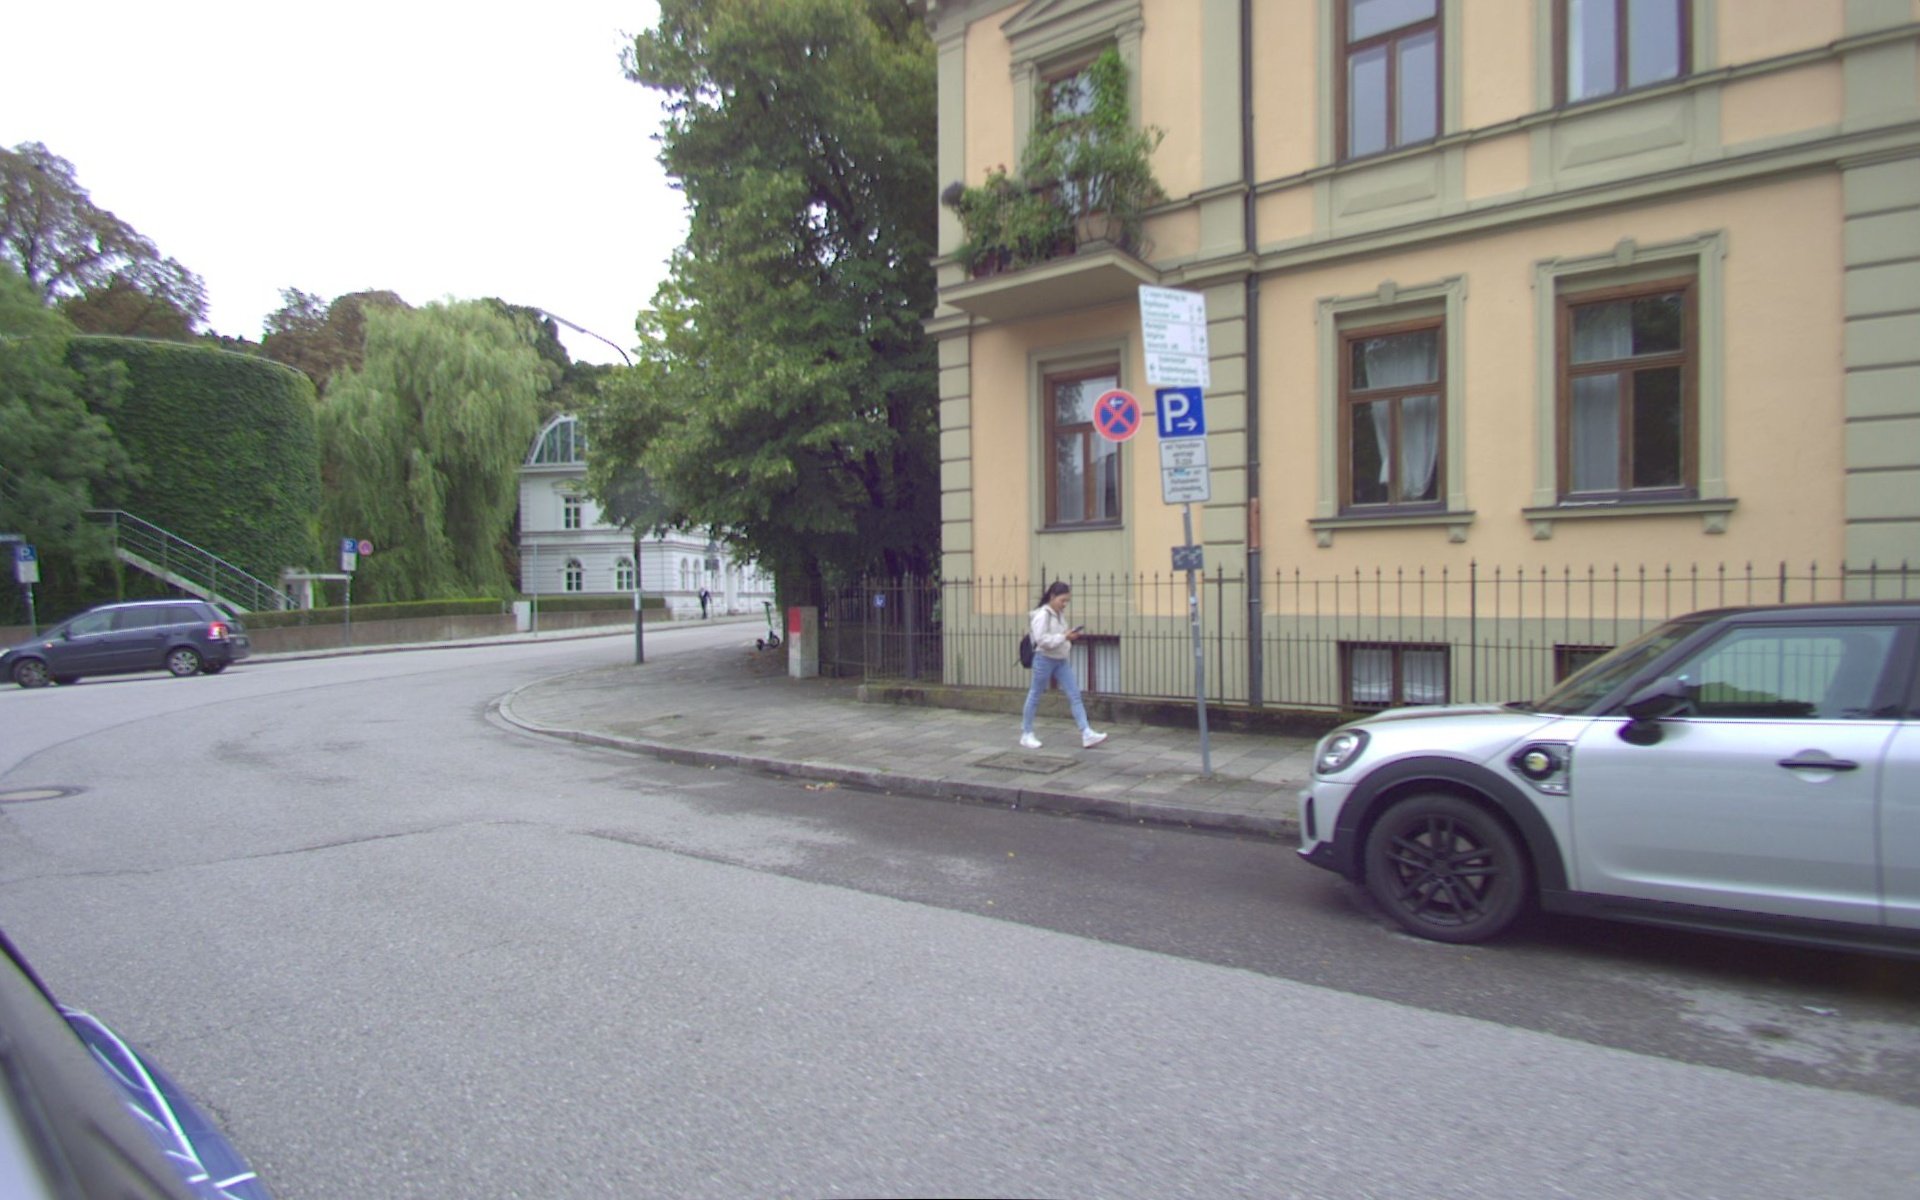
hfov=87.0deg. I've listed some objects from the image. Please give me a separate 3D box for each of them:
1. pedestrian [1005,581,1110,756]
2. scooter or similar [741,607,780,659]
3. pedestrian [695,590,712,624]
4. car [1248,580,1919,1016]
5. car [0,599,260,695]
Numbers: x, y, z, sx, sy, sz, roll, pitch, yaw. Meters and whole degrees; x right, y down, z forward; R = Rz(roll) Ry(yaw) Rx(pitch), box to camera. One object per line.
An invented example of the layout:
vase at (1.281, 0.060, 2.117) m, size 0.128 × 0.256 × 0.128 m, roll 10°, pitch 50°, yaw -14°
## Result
pedestrian at (0.953, 0.635, 9.860) m, size 0.739 × 1.615 × 0.647 m, roll -1°, pitch 0°, yaw 41°
scooter or similar at (-4.887, 0.794, 24.880) m, size 0.387 × 1.198 × 1.416 m, roll -5°, pitch -1°, yaw 9°
pedestrian at (-13.482, 0.358, 53.162) m, size 0.671 × 1.718 × 0.768 m, roll 2°, pitch 2°, yaw 2°
car at (3.823, 0.741, 4.501) m, size 4.523 × 1.547 × 1.918 m, roll -1°, pitch -3°, yaw 37°
car at (-17.924, 0.954, 21.736) m, size 4.261 × 1.705 × 2.006 m, roll -3°, pitch 1°, yaw -16°
